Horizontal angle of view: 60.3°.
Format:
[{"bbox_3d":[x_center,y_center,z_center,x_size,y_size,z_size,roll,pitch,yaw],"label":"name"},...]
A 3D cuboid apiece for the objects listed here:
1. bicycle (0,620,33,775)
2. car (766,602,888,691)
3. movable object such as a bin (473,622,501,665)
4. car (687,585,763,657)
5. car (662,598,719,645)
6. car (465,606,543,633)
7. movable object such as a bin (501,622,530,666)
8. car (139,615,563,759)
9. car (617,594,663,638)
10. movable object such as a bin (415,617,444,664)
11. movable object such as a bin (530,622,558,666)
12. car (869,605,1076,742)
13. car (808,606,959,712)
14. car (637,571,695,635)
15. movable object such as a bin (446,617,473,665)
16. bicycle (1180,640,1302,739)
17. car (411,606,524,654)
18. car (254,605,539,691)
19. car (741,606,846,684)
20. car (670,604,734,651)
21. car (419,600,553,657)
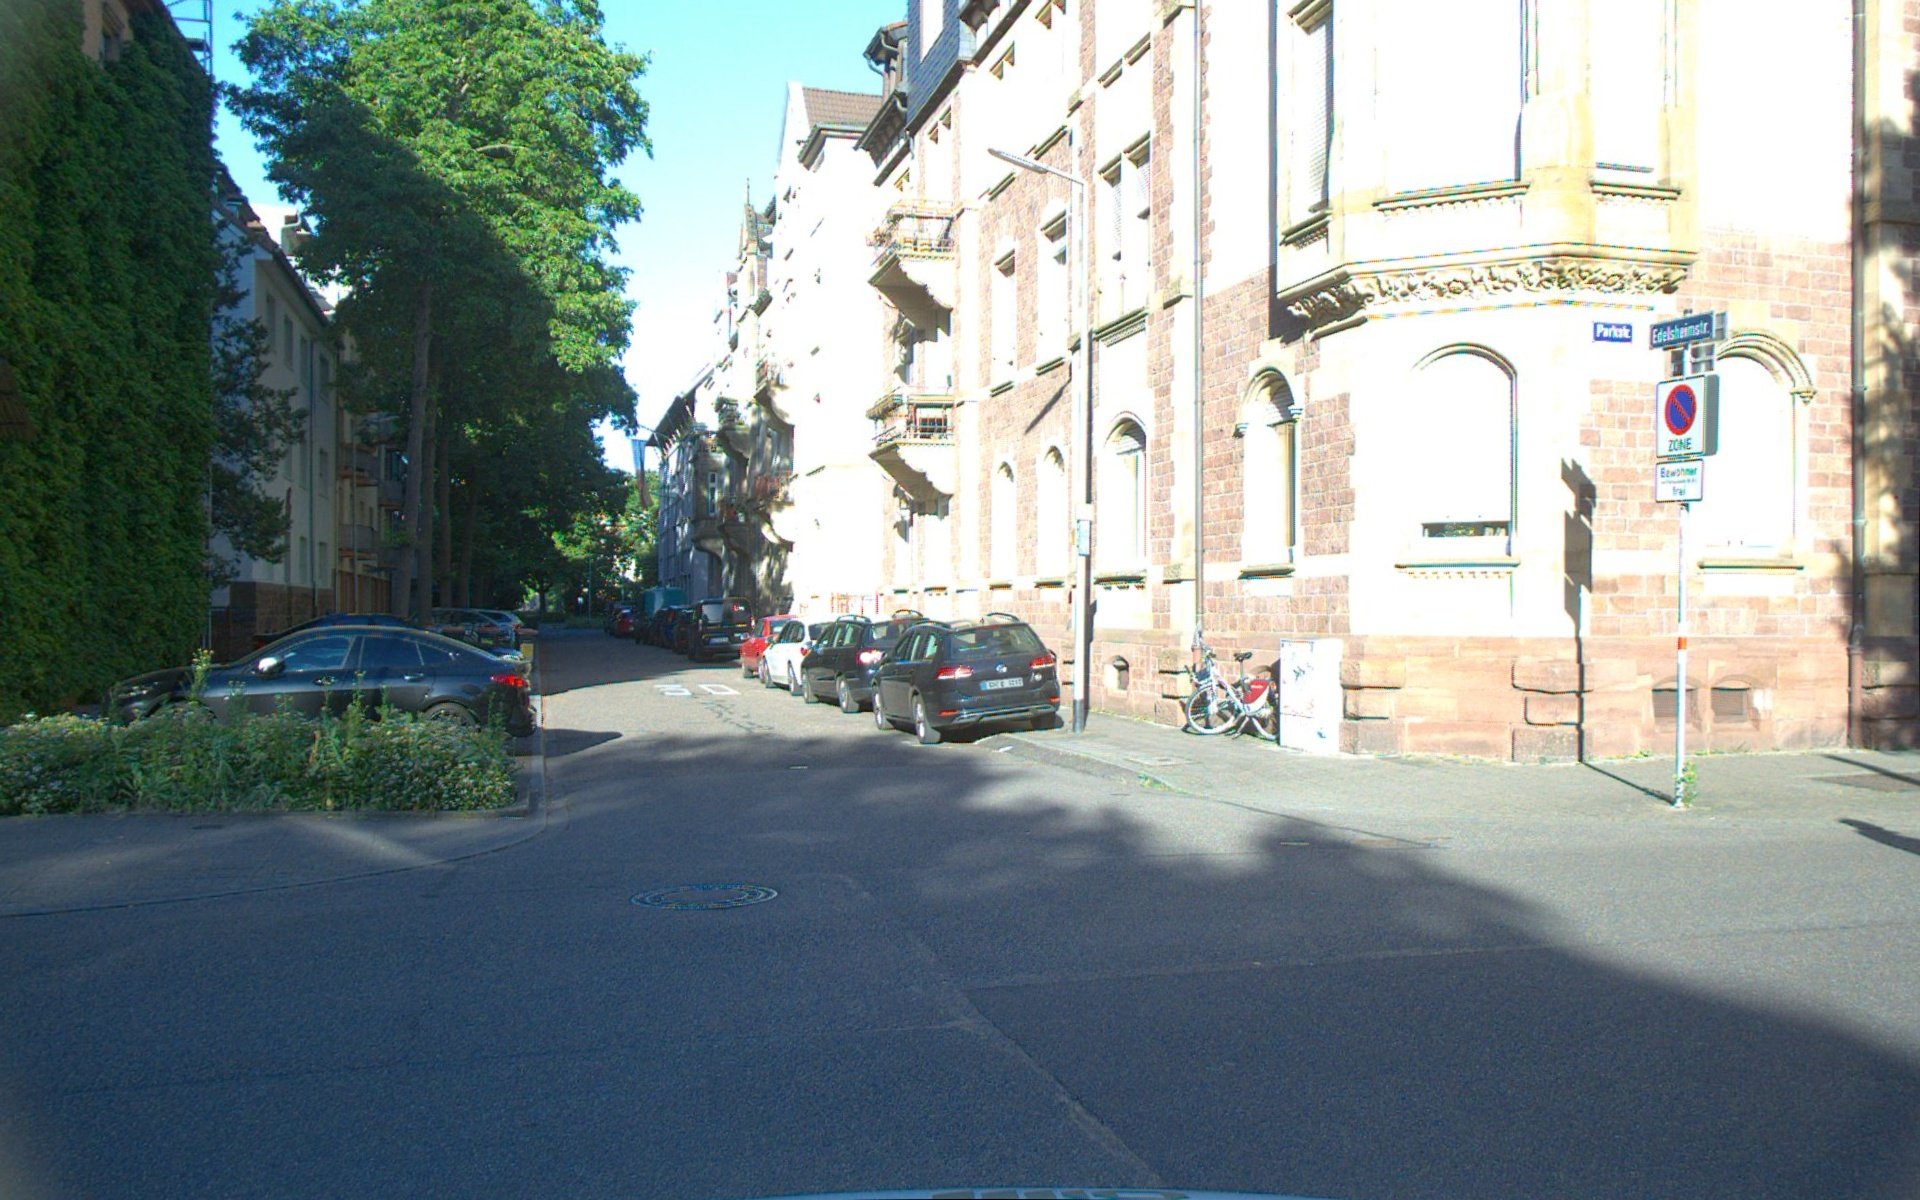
[{"bbox_3d":[-8.298,0.819,13.657,0.552,1.290,1.600,0,0,-7],"label":"bicycle"},{"bbox_3d":[-2.663,0.872,32.365,1.708,1.609,3.984,1,-1,-15],"label":"car"},{"bbox_3d":[-11.790,1.081,41.214,0.620,1.071,0.565,1,-1,-21],"label":"movable object such as a bin"},{"bbox_3d":[-7.028,0.611,49.199,1.772,2.039,3.984,1,-1,-15],"label":"car"},{"bbox_3d":[-10.435,0.822,63.848,1.772,1.708,3.984,1,-1,-15],"label":"car"},{"bbox_3d":[-23.116,0.994,83.915,3.741,1.262,1.702,1,-1,-17],"label":"car"},{"bbox_3d":[-11.148,1.101,41.490,0.620,1.071,0.565,1,-1,-21],"label":"movable object such as a bin"},{"bbox_3d":[-6.624,0.939,18.417,4.175,1.460,1.991,1,-1,-17],"label":"car"},{"bbox_3d":[-17.491,0.867,90.127,2.130,2.276,4.772,1,-1,-15],"label":"car"},{"bbox_3d":[-13.077,0.992,40.754,0.624,1.146,0.483,1,-1,-21],"label":"movable object such as a bin"},{"bbox_3d":[-10.486,1.110,41.699,0.620,1.071,0.565,1,-1,-21],"label":"movable object such as a bin"},{"bbox_3d":[0.058,0.887,21.472,1.708,1.609,3.984,1,-1,-15],"label":"car"},{"bbox_3d":[-1.347,0.920,27.407,1.708,1.609,3.984,1,-1,-15],"label":"car"},{"bbox_3d":[-13.141,0.156,73.693,2.130,2.738,4.772,1,-1,-15],"label":"car"},{"bbox_3d":[-12.416,1.026,41.037,0.589,1.173,0.484,1,-1,-21],"label":"movable object such as a bin"},{"bbox_3d":[3.109,0.974,18.419,0.508,1.015,1.563,2,-1,-26],"label":"bicycle"},{"bbox_3d":[-17.326,1.038,58.269,3.741,1.603,1.702,1,-1,-17],"label":"car"},{"bbox_3d":[-10.179,0.882,30.200,4.757,1.460,1.702,1,-1,-17],"label":"car"},{"bbox_3d":[-3.770,0.970,36.940,1.708,1.609,3.984,1,-1,-15],"label":"car"},{"bbox_3d":[-8.958,0.942,57.185,1.772,1.541,3.984,1,-1,-15],"label":"car"},{"bbox_3d":[-14.092,0.847,49.150,3.743,1.603,1.701,1,-1,-19],"label":"car"}]
